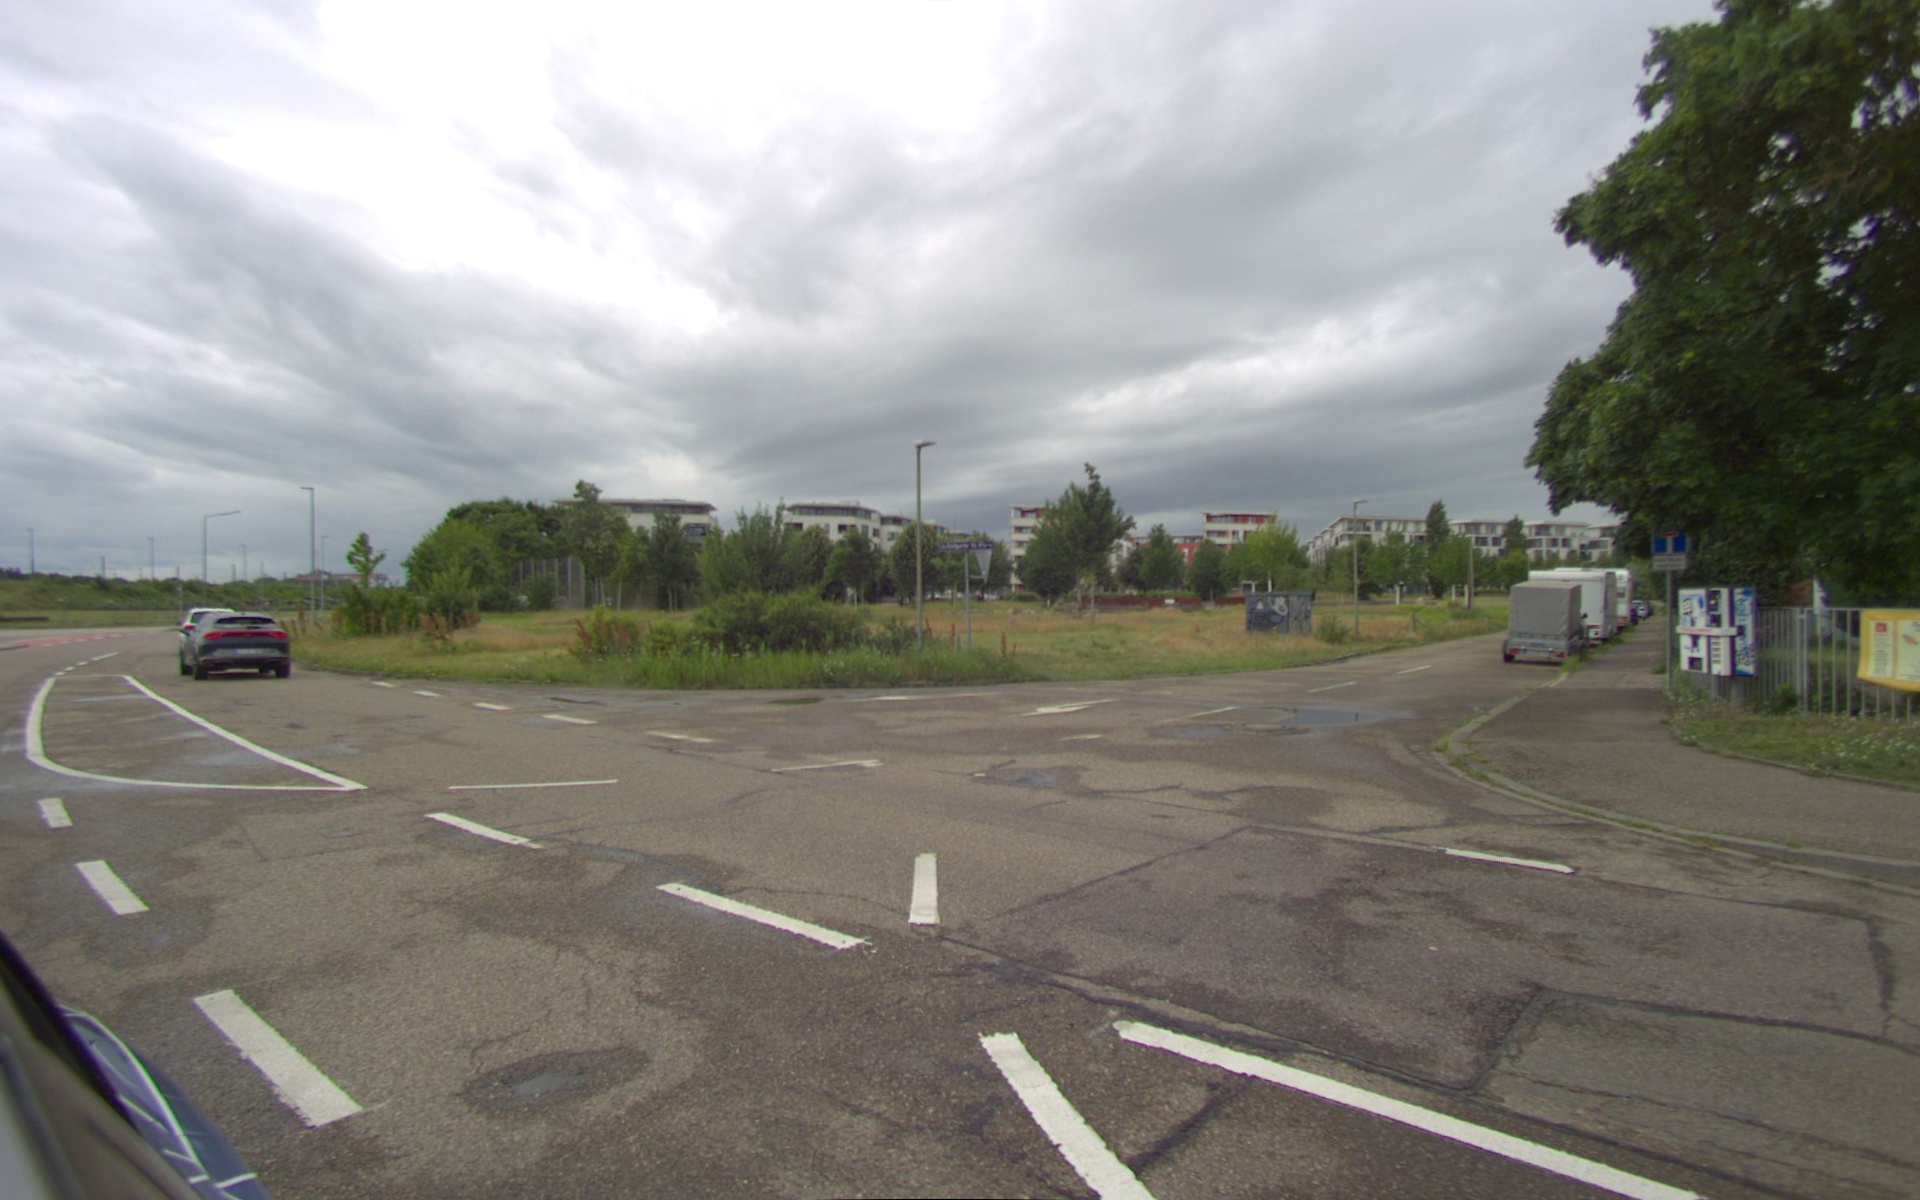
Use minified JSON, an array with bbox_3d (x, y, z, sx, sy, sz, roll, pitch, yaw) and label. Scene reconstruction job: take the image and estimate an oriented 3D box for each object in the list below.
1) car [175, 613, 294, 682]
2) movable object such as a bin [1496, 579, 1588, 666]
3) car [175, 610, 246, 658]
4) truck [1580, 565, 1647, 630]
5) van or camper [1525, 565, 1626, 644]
[{"bbox_3d":[-17.045,1.037,23.714,1.718,1.464,4.003,0,0,-44],"label":"car"},{"bbox_3d":[15.030,0.527,26.076,1.681,2.075,2.751,2,1,37],"label":"movable object such as a bin"},{"bbox_3d":[-26.451,1.153,35.656,1.815,1.548,4.007,0,0,-39],"label":"car"},{"bbox_3d":[30.490,-0.115,47.158,1.999,2.856,5.064,-1,0,40],"label":"truck"},{"bbox_3d":[22.049,0.146,36.177,2.518,2.608,5.074,-1,0,38],"label":"van or camper"}]
